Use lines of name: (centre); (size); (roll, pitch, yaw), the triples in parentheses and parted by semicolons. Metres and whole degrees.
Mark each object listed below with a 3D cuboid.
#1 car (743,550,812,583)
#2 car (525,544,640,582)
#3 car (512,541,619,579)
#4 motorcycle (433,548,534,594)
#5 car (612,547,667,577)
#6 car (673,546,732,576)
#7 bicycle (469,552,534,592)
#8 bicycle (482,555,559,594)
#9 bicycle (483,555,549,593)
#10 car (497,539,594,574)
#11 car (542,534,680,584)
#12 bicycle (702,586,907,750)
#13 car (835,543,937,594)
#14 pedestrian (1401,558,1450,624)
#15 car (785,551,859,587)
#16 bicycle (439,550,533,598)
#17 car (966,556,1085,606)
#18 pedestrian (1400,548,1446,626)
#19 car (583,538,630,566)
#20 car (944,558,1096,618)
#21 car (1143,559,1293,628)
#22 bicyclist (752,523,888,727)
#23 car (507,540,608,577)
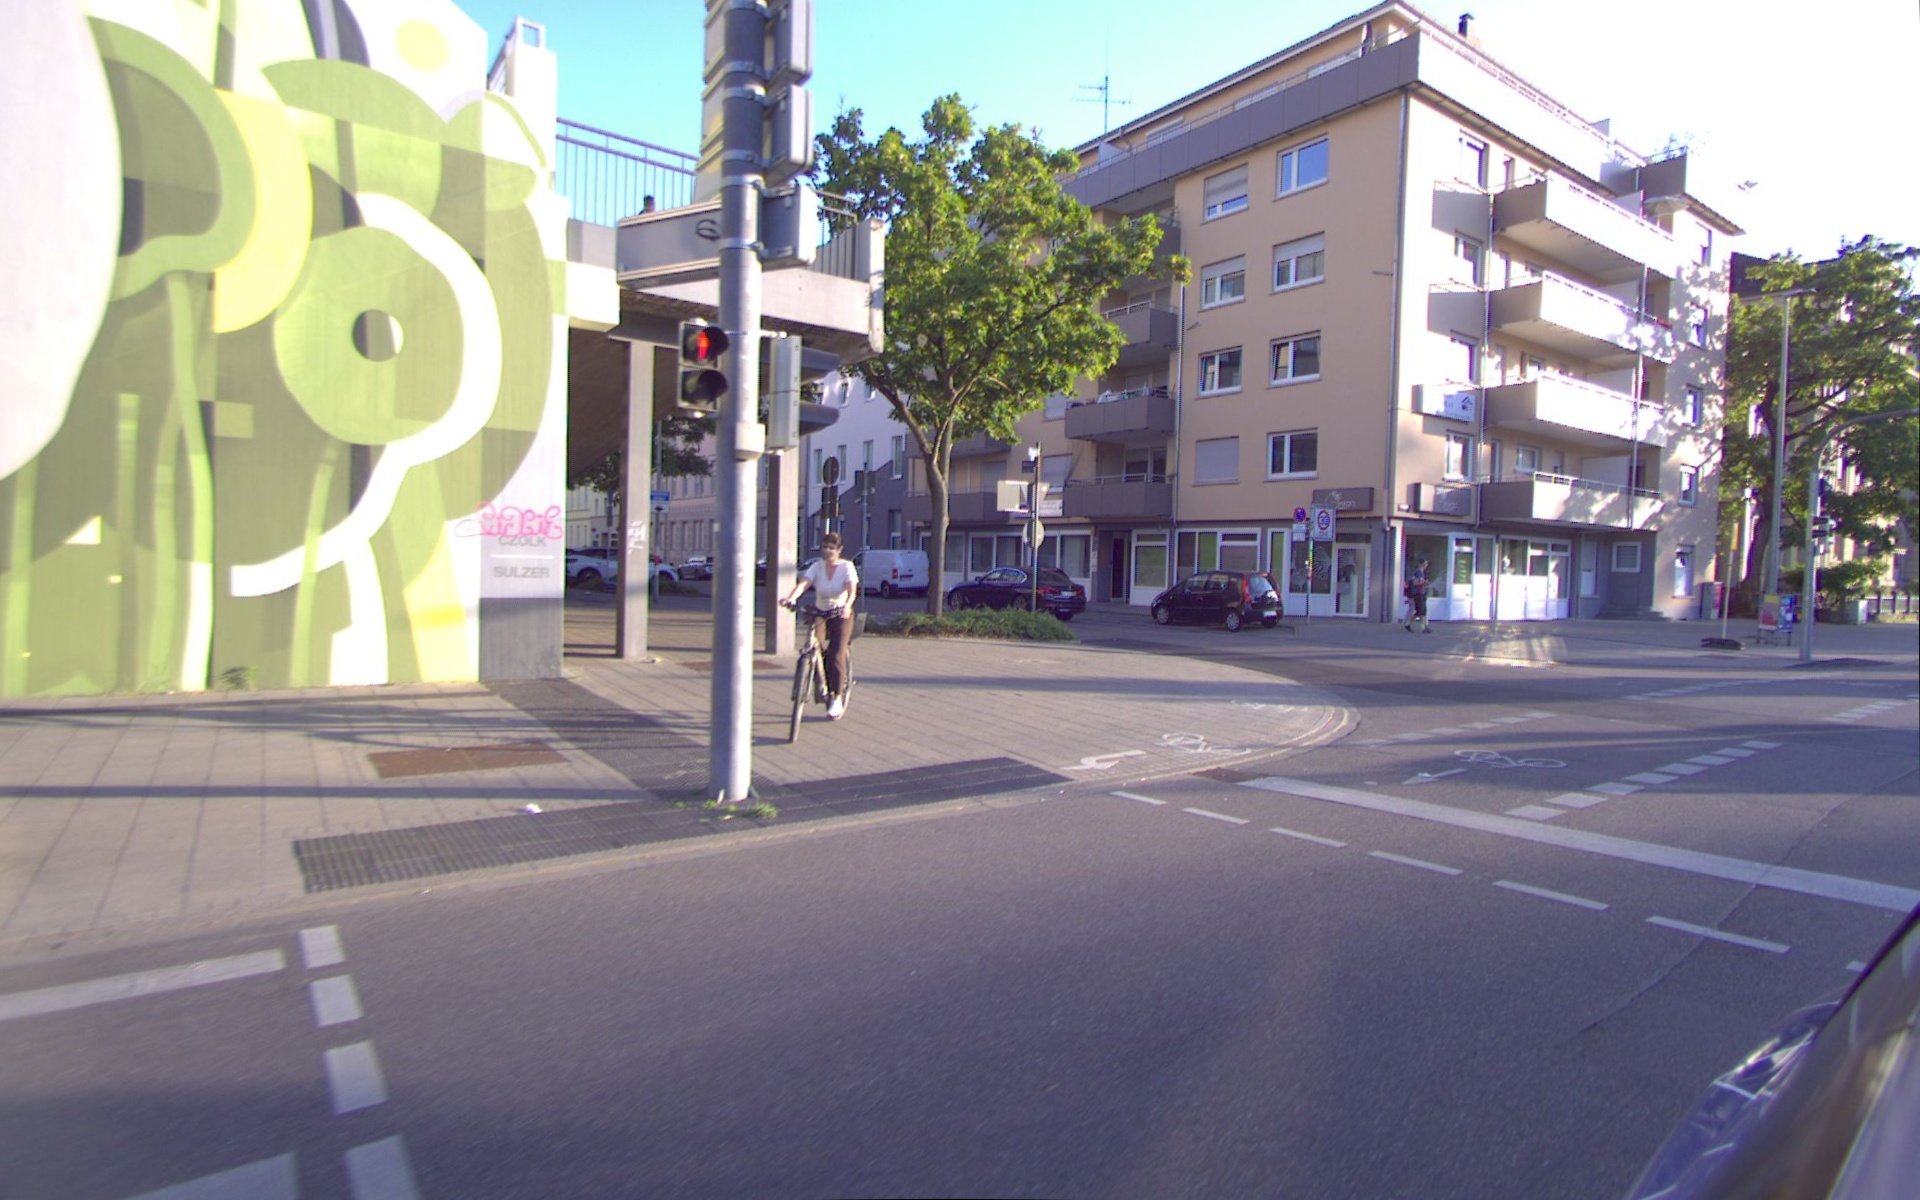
car: (-8.920, -1.662, 49.253); (1.576, 1.504, 4.250); (-1, 4, -37)
car: (-15.531, -1.486, 41.726); (4.106, 1.479, 1.752); (0, 1, -40)
car: (-17.043, -1.697, 43.811); (4.008, 1.555, 1.640); (0, 0, -40)
motorcycle: (-11.824, -0.712, 25.141); (2.116, 1.071, 0.786); (1, 3, -41)
car: (-21.098, -2.468, 66.509); (2.118, 1.851, 4.781); (0, 1, -35)
car: (-14.660, -2.167, 57.506); (1.704, 1.575, 4.196); (0, 1, -37)
bicycle: (-12.659, -0.764, 27.933); (1.540, 1.050, 0.485); (1, 3, -40)
bicycle: (-11.700, -0.673, 26.938); (1.735, 0.962, 0.699); (1, 3, -41)
bicycle: (-12.056, -0.698, 27.488); (1.540, 0.962, 0.485); (1, 3, -40)
car: (-19.594, -2.028, 47.893); (3.956, 1.555, 1.641); (0, 0, -37)
car: (-12.938, -1.466, 37.639); (4.537, 1.714, 1.754); (0, 0, -35)
bicycle: (-1.306, 0.516, 9.050); (0.811, 1.187, 2.133); (3, 3, 22)
car: (-3.089, -1.341, 41.262); (1.964, 1.886, 4.540); (-5, 6, -36)
pedestrian: (11.722, -0.243, 25.483); (0.752, 1.634, 0.822); (-1, 3, -34)
car: (-6.283, -1.437, 45.747); (1.576, 1.504, 4.000); (-1, 4, -36)
bicycle: (-11.397, -0.616, 24.349); (1.889, 1.071, 0.782); (1, 3, -41)
car: (2.208, -0.707, 34.931); (1.628, 1.457, 4.224); (-5, 6, -40)
pedestrian: (11.359, -0.334, 24.861); (0.534, 1.882, 0.840); (-1, 3, -35)
car: (-25.616, -3.444, 73.302); (1.995, 1.851, 4.781); (0, 1, -35)
car: (1.621, -0.383, 29.058); (1.772, 1.487, 4.622); (2, 1, -36)
car: (6.890, -0.240, 27.307); (1.585, 1.578, 3.818); (-4, 5, -35)
bicyclist: (-1.247, 0.182, 9.152); (0.811, 1.712, 0.954); (3, 3, 23)
car: (-18.187, -1.852, 45.816); (3.956, 1.555, 1.641); (0, 0, -37)
